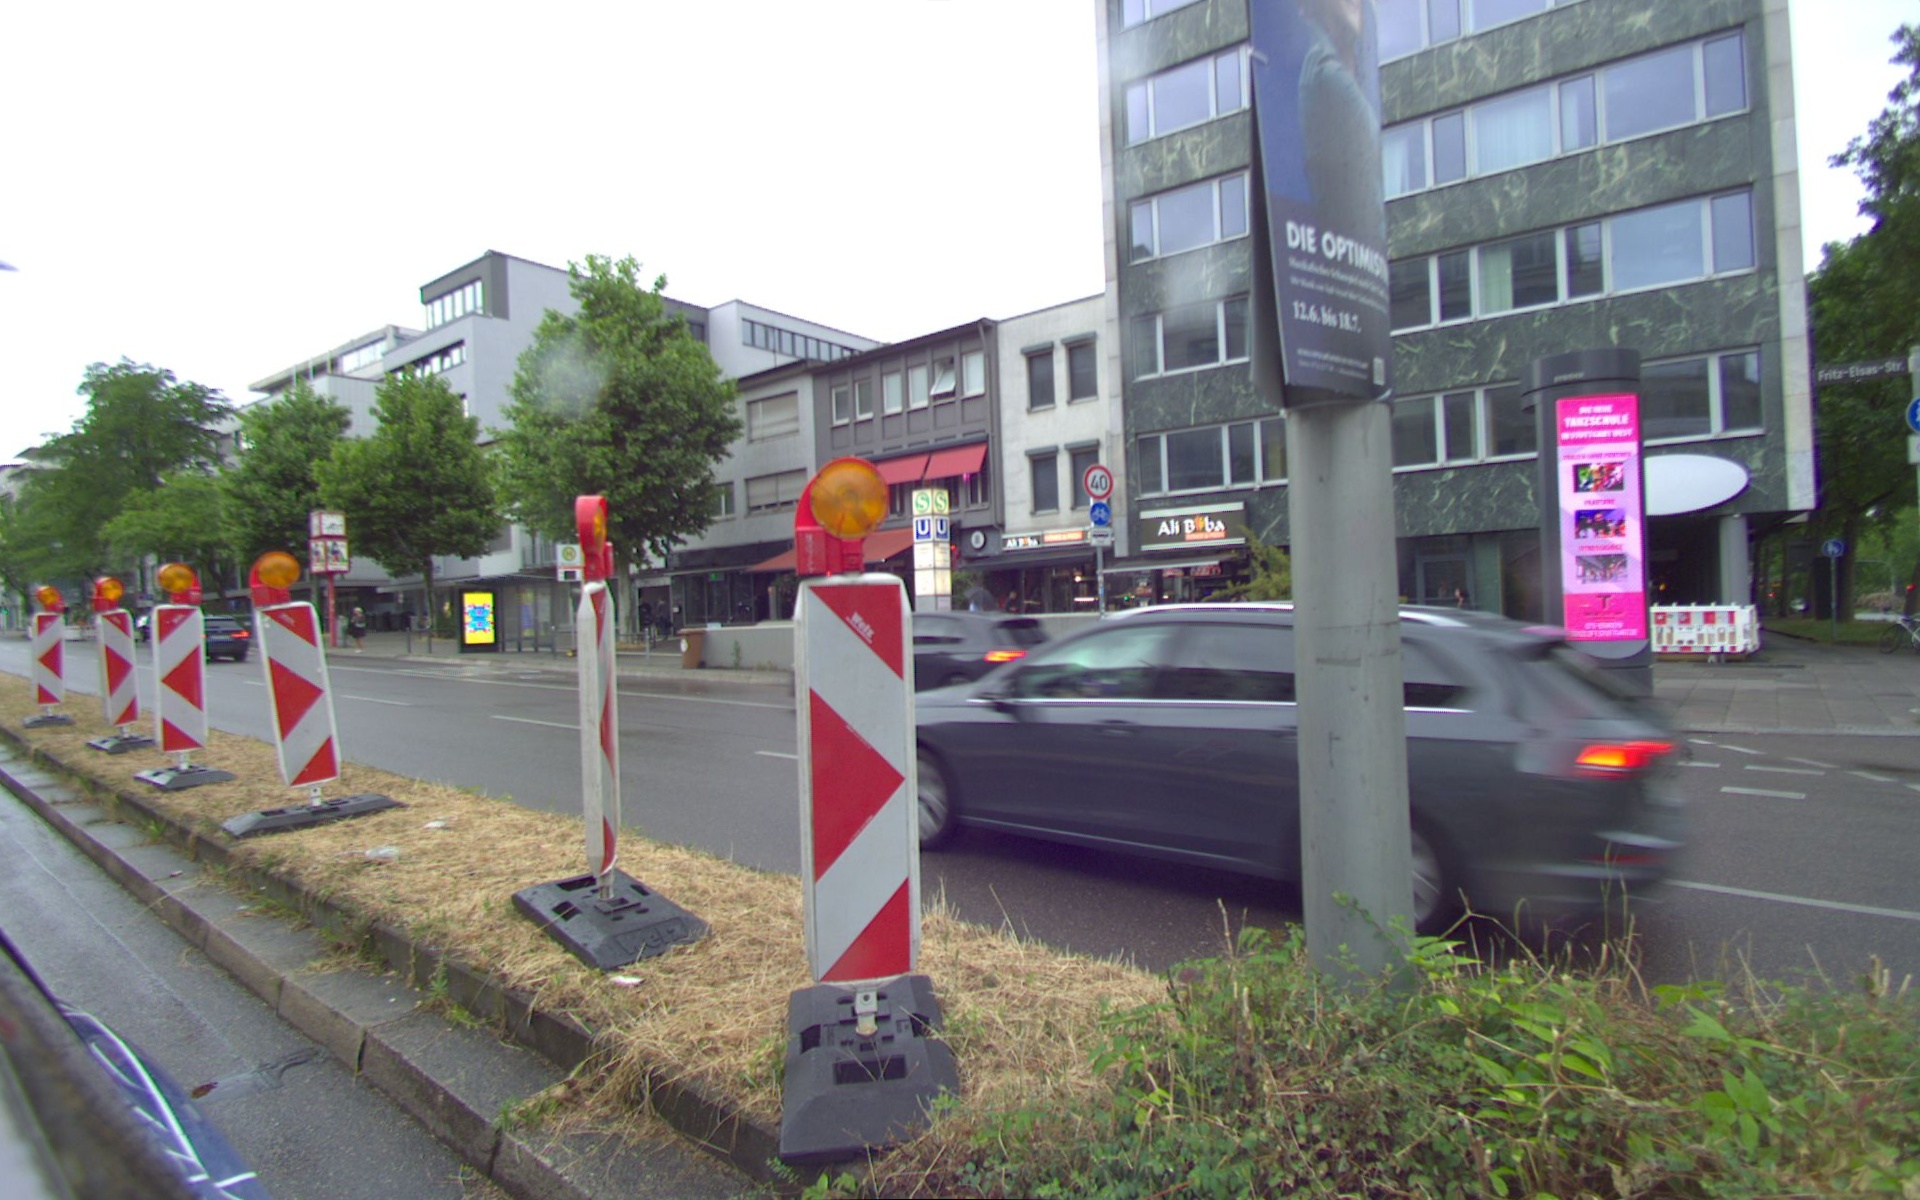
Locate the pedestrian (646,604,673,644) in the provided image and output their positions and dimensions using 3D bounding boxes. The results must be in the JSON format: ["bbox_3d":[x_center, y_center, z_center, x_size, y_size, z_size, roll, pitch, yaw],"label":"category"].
[{"bbox_3d":[-11.934,0.943,40.163,0.764,1.577,0.768,-1,0,-41],"label":"pedestrian"}]

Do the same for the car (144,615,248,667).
[{"bbox_3d":[-24.879,1.279,32.910,4.415,1.566,1.671,-1,0,39],"label":"car"}]

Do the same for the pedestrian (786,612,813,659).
[{"bbox_3d":[-5.446,1.199,34.304,0.611,1.540,0.660,-2,-1,44],"label":"pedestrian"}]

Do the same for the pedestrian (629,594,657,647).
[{"bbox_3d":[-12.412,0.806,39.634,0.764,2.029,0.768,-1,0,-41],"label":"pedestrian"}]

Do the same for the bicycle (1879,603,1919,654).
[{"bbox_3d":[20.759,0.597,21.477,1.780,1.060,0.579,-1,-1,37],"label":"bicycle"}]

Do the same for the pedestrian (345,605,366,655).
[{"bbox_3d":[-22.179,1.091,37.131,0.567,1.839,0.581,-1,0,-43],"label":"pedestrian"}]

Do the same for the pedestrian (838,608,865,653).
[{"bbox_3d":[-3.762,1.040,35.013,0.611,1.540,0.660,-2,-1,44],"label":"pedestrian"}]

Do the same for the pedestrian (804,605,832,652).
[{"bbox_3d":[-4.711,0.950,33.527,0.611,1.540,0.660,-2,-1,44],"label":"pedestrian"}]

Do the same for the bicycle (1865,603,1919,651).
[{"bbox_3d":[21.255,0.591,22.385,1.780,1.060,0.579,-1,-1,37],"label":"bicycle"}]

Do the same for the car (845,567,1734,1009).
[{"bbox_3d":[1.463,0.664,5.521,4.288,1.521,1.670,-1,0,41],"label":"car"}]

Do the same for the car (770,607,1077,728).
[{"bbox_3d":[-0.611,0.853,14.104,4.208,1.442,1.671,-1,-1,39],"label":"car"}]

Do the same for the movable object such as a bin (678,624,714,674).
[{"bbox_3d":[-6.109,1.128,23.447,0.660,1.109,0.501,-1,0,39],"label":"movable object such as a bin"}]

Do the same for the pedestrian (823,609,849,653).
[{"bbox_3d":[-4.345,1.079,35.438,0.611,1.540,0.660,-2,-1,44],"label":"pedestrian"}]

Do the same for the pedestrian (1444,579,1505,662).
[{"bbox_3d":[11.224,0.438,22.051,1.029,1.747,1.194,-1,0,34],"label":"pedestrian"}]
